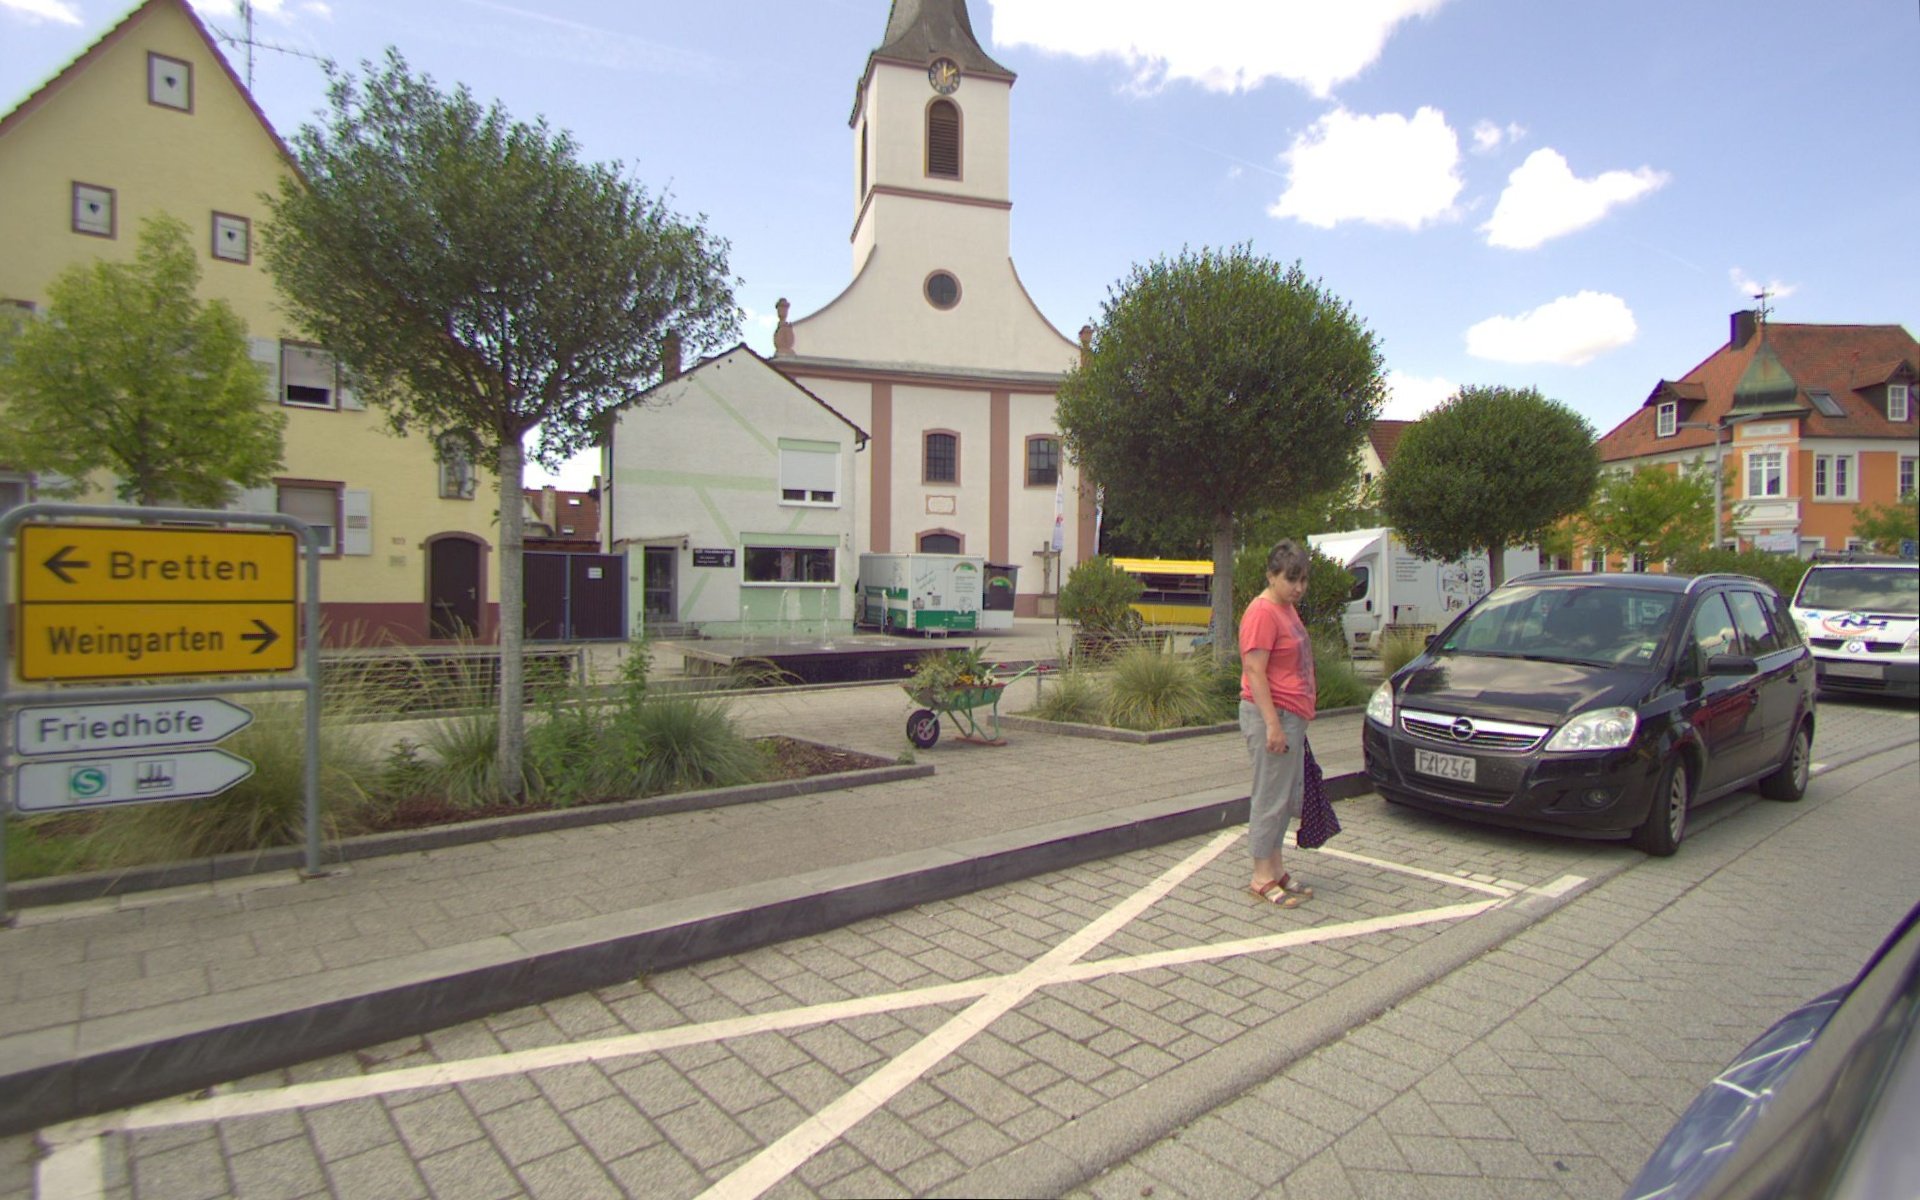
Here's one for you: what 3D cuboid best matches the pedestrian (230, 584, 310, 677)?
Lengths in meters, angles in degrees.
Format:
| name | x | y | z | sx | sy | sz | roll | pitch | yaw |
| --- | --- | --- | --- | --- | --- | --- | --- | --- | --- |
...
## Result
| name | x | y | z | sx | sy | sz | roll | pitch | yaw |
| --- | --- | --- | --- | --- | --- | --- | --- | --- | --- |
| pedestrian | -9.875 | 0.425 | 14.500 | 0.775 | 1.300 | 0.537 | 0 | 1 | 2 |

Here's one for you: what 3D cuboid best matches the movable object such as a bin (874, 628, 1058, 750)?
| name | x | y | z | sx | sy | sz | roll | pitch | yaw |
| --- | --- | --- | --- | --- | --- | --- | --- | --- | --- |
| movable object such as a bin | 0.068 | 0.696 | 8.458 | 1.411 | 0.877 | 0.736 | -1 | 0 | -41 |

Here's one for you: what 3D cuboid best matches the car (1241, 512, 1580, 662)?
| name | x | y | z | sx | sy | sz | roll | pitch | yaw |
| --- | --- | --- | --- | --- | --- | --- | --- | --- | --- |
| car | 10.079 | -0.334 | 22.684 | 6.964 | 2.999 | 2.768 | -1 | 2 | -20 |

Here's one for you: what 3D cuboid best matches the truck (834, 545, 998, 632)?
| name | x | y | z | sx | sy | sz | roll | pitch | yaw |
| --- | --- | --- | --- | --- | --- | --- | --- | --- | --- |
| truck | -1.647 | -0.357 | 33.225 | 2.897 | 2.529 | 6.835 | 0 | 0 | -26 |

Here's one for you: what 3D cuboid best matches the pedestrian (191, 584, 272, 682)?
| name | x | y | z | sx | sy | sz | roll | pitch | yaw |
| --- | --- | --- | --- | --- | --- | --- | --- | --- | --- |
| pedestrian | -9.982 | 0.439 | 13.879 | 0.660 | 1.300 | 0.614 | 0 | 1 | 2 |

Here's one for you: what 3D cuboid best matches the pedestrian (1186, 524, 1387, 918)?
| name | x | y | z | sx | sy | sz | roll | pitch | yaw |
| --- | --- | --- | --- | --- | --- | --- | --- | --- | --- |
| pedestrian | 1.496 | 0.499 | 4.665 | 0.608 | 1.649 | 0.641 | 0 | 0 | -35 |

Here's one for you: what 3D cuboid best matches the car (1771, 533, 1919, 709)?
| name | x | y | z | sx | sy | sz | roll | pitch | yaw |
| --- | --- | --- | --- | --- | --- | --- | --- | --- | --- |
| car | 13.736 | 0.231 | 14.637 | 5.007 | 2.204 | 1.948 | 0 | 2 | -38 |

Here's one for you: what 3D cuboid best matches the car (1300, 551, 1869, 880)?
| name | x | y | z | sx | sy | sz | roll | pitch | yaw |
| --- | --- | --- | --- | --- | --- | --- | --- | --- | --- |
| car | 4.428 | 0.522 | 6.933 | 4.335 | 1.583 | 1.775 | 0 | 3 | -36 |

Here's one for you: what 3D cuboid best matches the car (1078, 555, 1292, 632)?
| name | x | y | z | sx | sy | sz | roll | pitch | yaw |
| --- | --- | --- | --- | --- | --- | --- | --- | --- | --- |
| car | 7.507 | -0.253 | 34.533 | 6.850 | 2.508 | 2.647 | 0 | 1 | 9 |

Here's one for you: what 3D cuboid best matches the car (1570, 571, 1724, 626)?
| name | x | y | z | sx | sy | sz | roll | pitch | yaw |
| --- | --- | --- | --- | --- | --- | --- | --- | --- | --- |
| car | 26.961 | -0.058 | 39.725 | 5.379 | 2.039 | 2.004 | 0 | 0 | -16 |

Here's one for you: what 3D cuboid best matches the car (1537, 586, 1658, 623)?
| name | x | y | z | sx | sy | sz | roll | pitch | yaw |
| --- | --- | --- | --- | --- | --- | --- | --- | --- | --- |
| car | 26.652 | 0.177 | 42.312 | 4.623 | 1.503 | 1.628 | 0 | 0 | -16 |

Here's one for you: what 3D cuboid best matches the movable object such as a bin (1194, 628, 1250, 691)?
| name | x | y | z | sx | sy | sz | roll | pitch | yaw |
| --- | --- | --- | --- | --- | --- | --- | --- | --- | --- |
| movable object such as a bin | 3.310 | 0.745 | 12.798 | 0.384 | 0.742 | 0.567 | 0 | 1 | -34 |
